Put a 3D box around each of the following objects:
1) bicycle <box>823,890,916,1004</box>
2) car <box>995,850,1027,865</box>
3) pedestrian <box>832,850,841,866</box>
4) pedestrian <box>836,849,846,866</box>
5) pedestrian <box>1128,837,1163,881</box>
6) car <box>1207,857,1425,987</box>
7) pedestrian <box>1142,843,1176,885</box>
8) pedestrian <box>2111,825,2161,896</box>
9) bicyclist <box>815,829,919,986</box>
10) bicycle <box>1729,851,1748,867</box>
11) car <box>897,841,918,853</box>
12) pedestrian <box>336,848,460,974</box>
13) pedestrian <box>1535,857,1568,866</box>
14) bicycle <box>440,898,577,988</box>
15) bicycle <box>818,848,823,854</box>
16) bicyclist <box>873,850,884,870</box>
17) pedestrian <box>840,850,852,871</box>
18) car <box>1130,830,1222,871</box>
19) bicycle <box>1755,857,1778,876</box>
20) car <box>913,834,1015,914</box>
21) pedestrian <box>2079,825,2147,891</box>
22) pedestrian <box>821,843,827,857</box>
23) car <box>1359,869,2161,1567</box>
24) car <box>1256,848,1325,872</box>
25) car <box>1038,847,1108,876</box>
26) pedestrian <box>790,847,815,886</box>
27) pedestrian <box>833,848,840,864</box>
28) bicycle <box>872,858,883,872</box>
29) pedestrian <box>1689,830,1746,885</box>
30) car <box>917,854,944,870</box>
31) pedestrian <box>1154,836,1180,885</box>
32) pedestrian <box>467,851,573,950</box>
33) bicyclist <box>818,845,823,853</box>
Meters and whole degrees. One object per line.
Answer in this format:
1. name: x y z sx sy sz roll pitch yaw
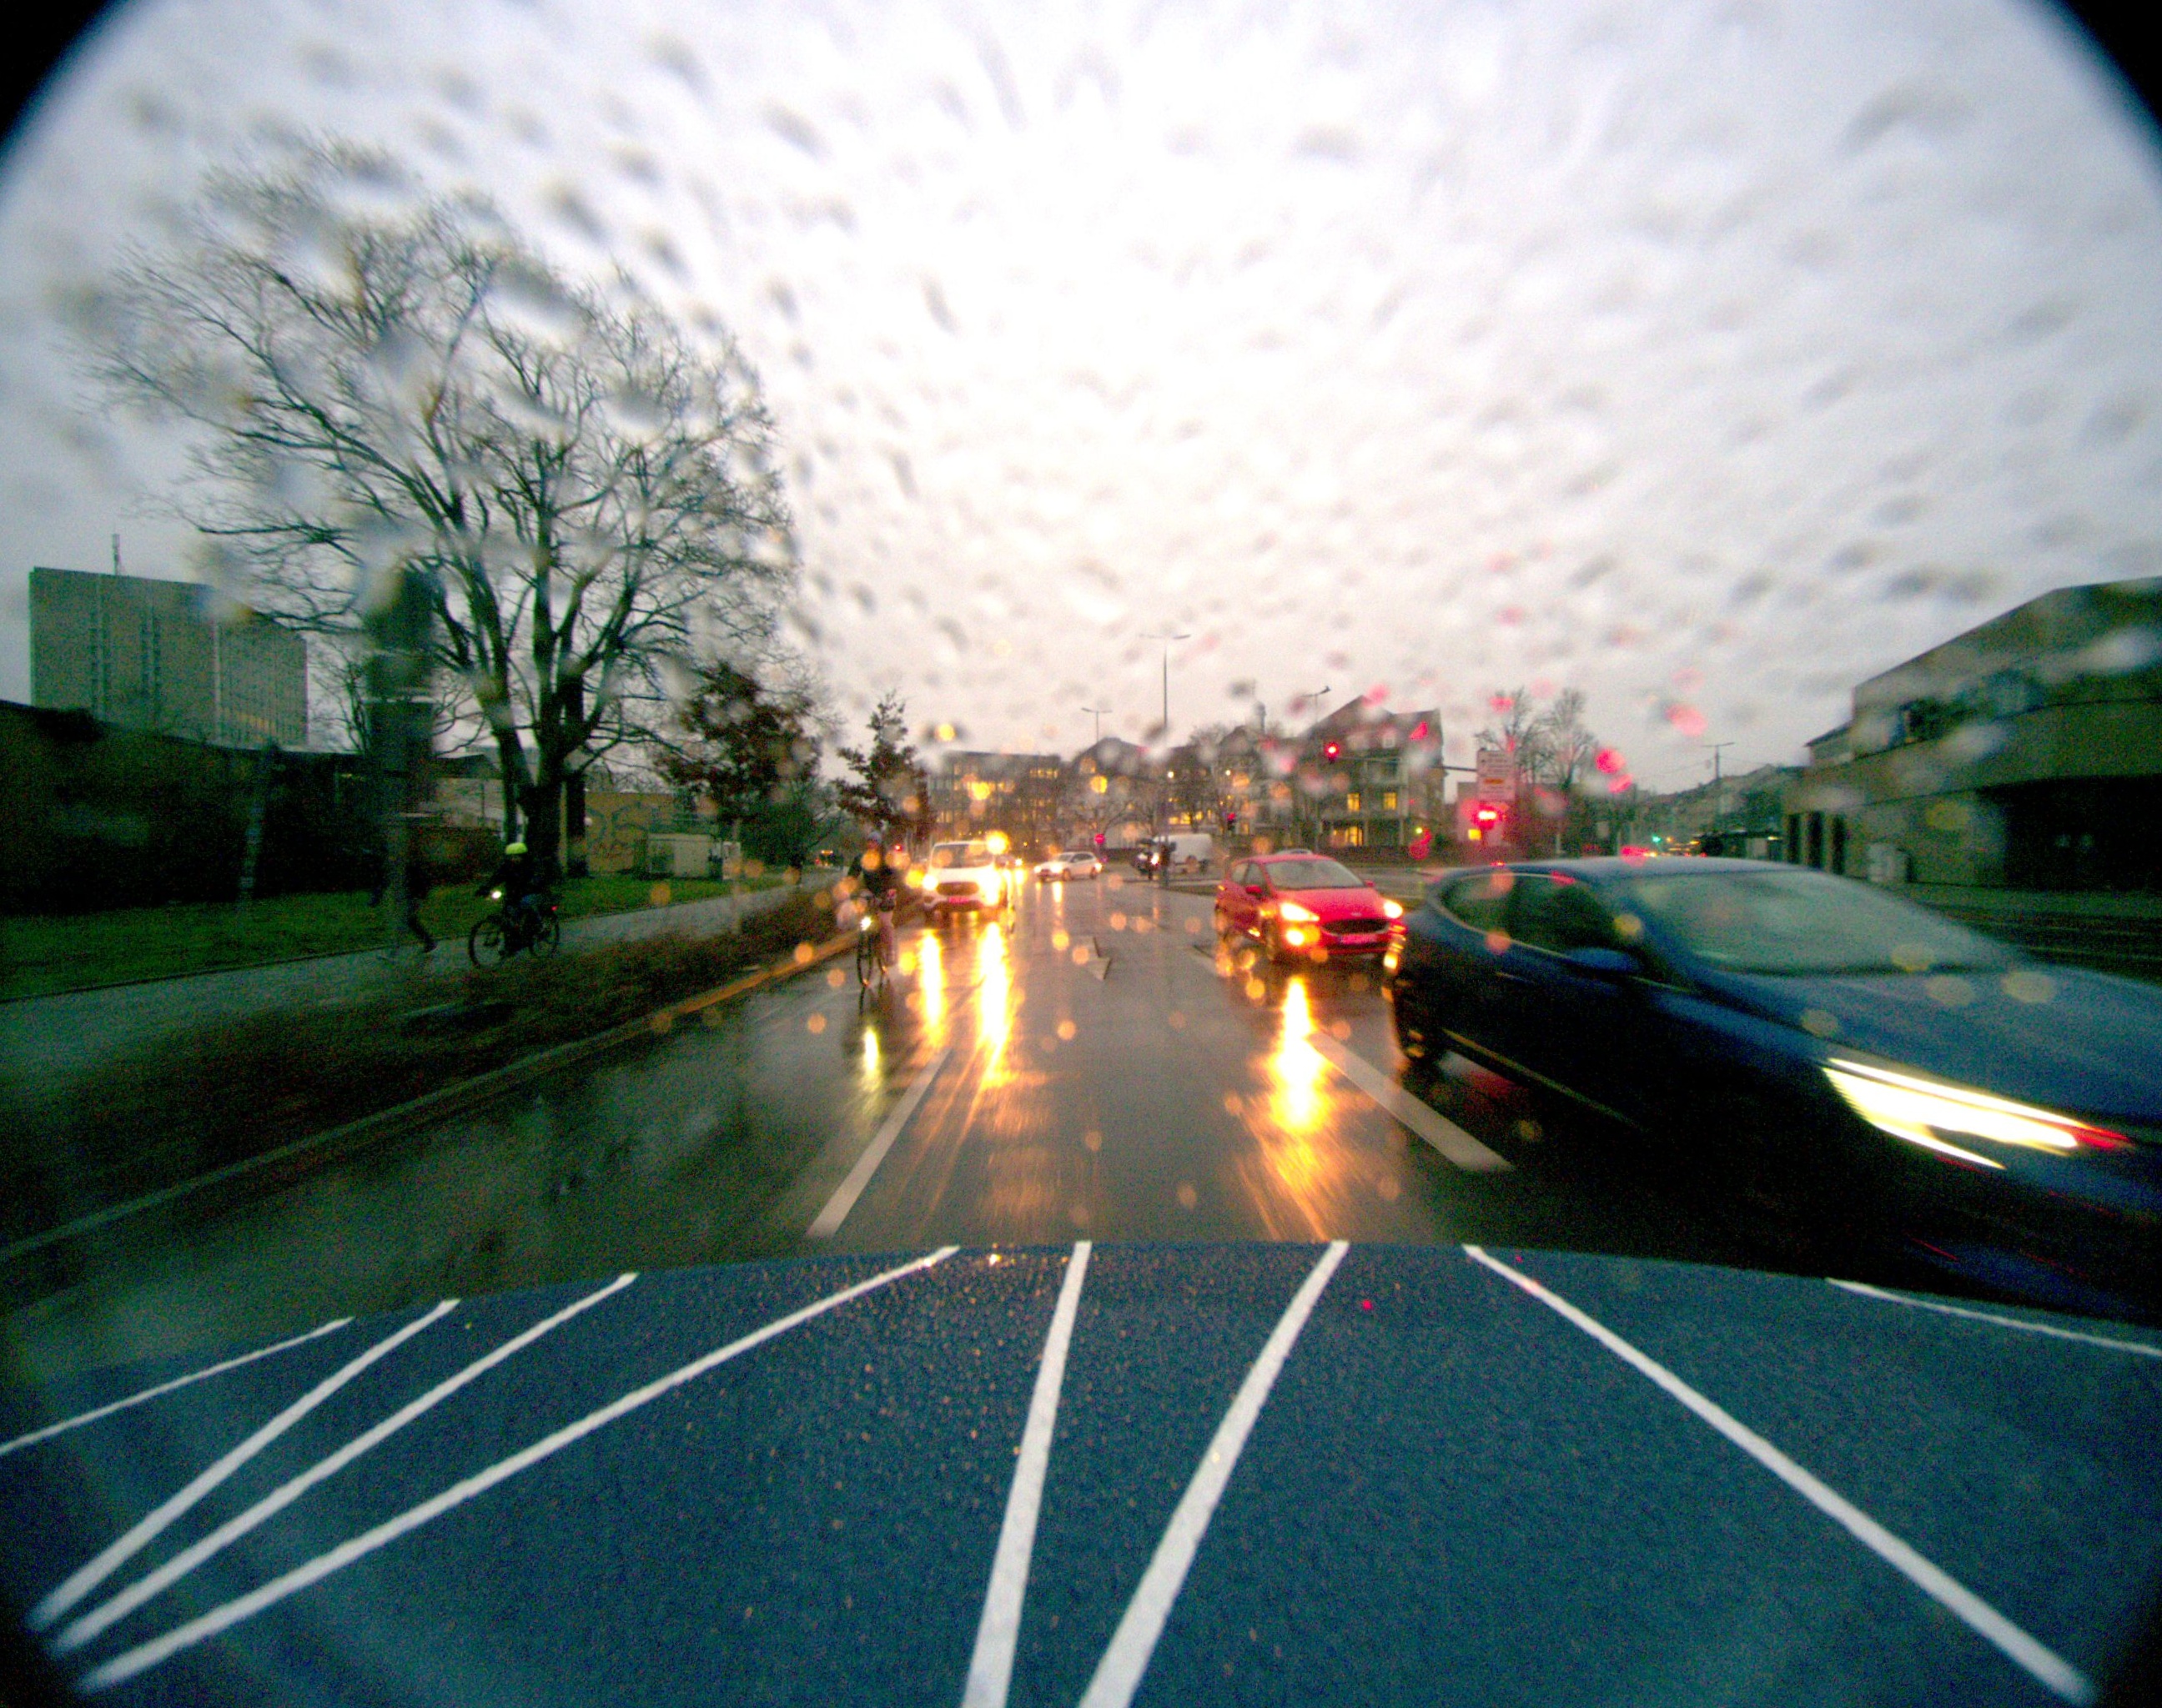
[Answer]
1. bicycle: -2.709 1.146 9.938 0.794 1.215 1.903 -2 1 -5
2. car: -6.946 0.304 74.838 1.934 1.368 4.489 0 1 -22
3. pedestrian: -28.152 0.503 87.484 0.934 1.815 0.832 0 1 -22
4. pedestrian: -25.944 0.329 82.197 0.934 1.815 0.832 0 1 -22
5. pedestrian: 3.074 0.244 36.146 1.217 2.037 1.033 0 -2 -39
6. car: 3.235 0.837 11.298 1.705 1.473 3.870 -3 1 -5
7. pedestrian: 3.515 0.449 34.361 1.037 1.846 1.068 0 -2 -37
8. pedestrian: 26.847 0.167 19.166 0.662 1.757 0.832 0 1 -17
9. bicyclist: -2.726 0.641 9.838 1.027 1.872 1.235 -2 1 -5
10. bicycle: 46.061 0.368 53.263 0.645 1.098 2.757 -2 -2 34
11. car: -23.589 -0.976 103.249 2.002 1.558 4.752 1 0 -22
12. pedestrian: -9.638 0.771 10.773 0.810 1.678 1.070 1 1 -5
13. pedestrian: 52.621 0.870 84.981 3.091 0.924 0.951 -2 -2 35
14. bicycle: -7.711 1.152 10.365 0.563 0.941 2.093 0 1 -9
15. bicycle: -47.090 -0.477 137.353 0.795 1.010 2.897 0 1 -21
16. bicyclist: -17.199 0.482 64.423 0.807 1.608 1.084 3 0 -13
17. pedestrian: -20.951 0.560 67.793 0.934 1.815 0.832 0 1 -22
18. car: 6.296 -0.199 49.950 5.879 2.502 2.343 0 -2 -35
19. bicycle: 42.330 0.773 46.937 0.645 1.098 2.757 -2 -2 34
20. car: -3.074 0.569 21.063 2.137 1.909 5.018 -1 -2 -1
21. pedestrian: 27.623 0.099 20.351 0.741 1.716 0.744 0 1 8
22. pedestrian: -37.932 -0.596 112.191 0.767 2.002 0.771 0 1 -23
23. car: 3.097 0.860 3.805 1.663 1.396 4.118 -3 1 -3
24. car: 15.351 0.408 55.702 4.823 1.634 1.835 0 1 -24
25. car: -0.403 0.454 43.464 1.751 1.495 4.327 -2 -2 36
26. pedestrian: -12.079 0.549 32.972 0.913 1.677 0.926 1 -1 -16
27. pedestrian: -30.786 0.227 95.514 0.767 2.002 0.908 -1 1 -23
28. bicycle: -17.188 0.902 64.301 0.807 1.135 2.211 3 0 -13
29. pedestrian: 22.151 0.142 26.460 1.236 1.846 1.034 0 -2 -23
30. car: -14.390 0.721 72.355 1.776 1.478 4.462 0 1 -21
31. pedestrian: 3.579 0.275 31.716 0.848 1.993 1.109 -1 -2 -5
32. pedestrian: -7.776 0.623 10.577 0.877 1.309 0.847 0 1 -8
33. bicyclist: -47.106 -0.935 137.339 0.768 1.481 0.992 0 1 -21
